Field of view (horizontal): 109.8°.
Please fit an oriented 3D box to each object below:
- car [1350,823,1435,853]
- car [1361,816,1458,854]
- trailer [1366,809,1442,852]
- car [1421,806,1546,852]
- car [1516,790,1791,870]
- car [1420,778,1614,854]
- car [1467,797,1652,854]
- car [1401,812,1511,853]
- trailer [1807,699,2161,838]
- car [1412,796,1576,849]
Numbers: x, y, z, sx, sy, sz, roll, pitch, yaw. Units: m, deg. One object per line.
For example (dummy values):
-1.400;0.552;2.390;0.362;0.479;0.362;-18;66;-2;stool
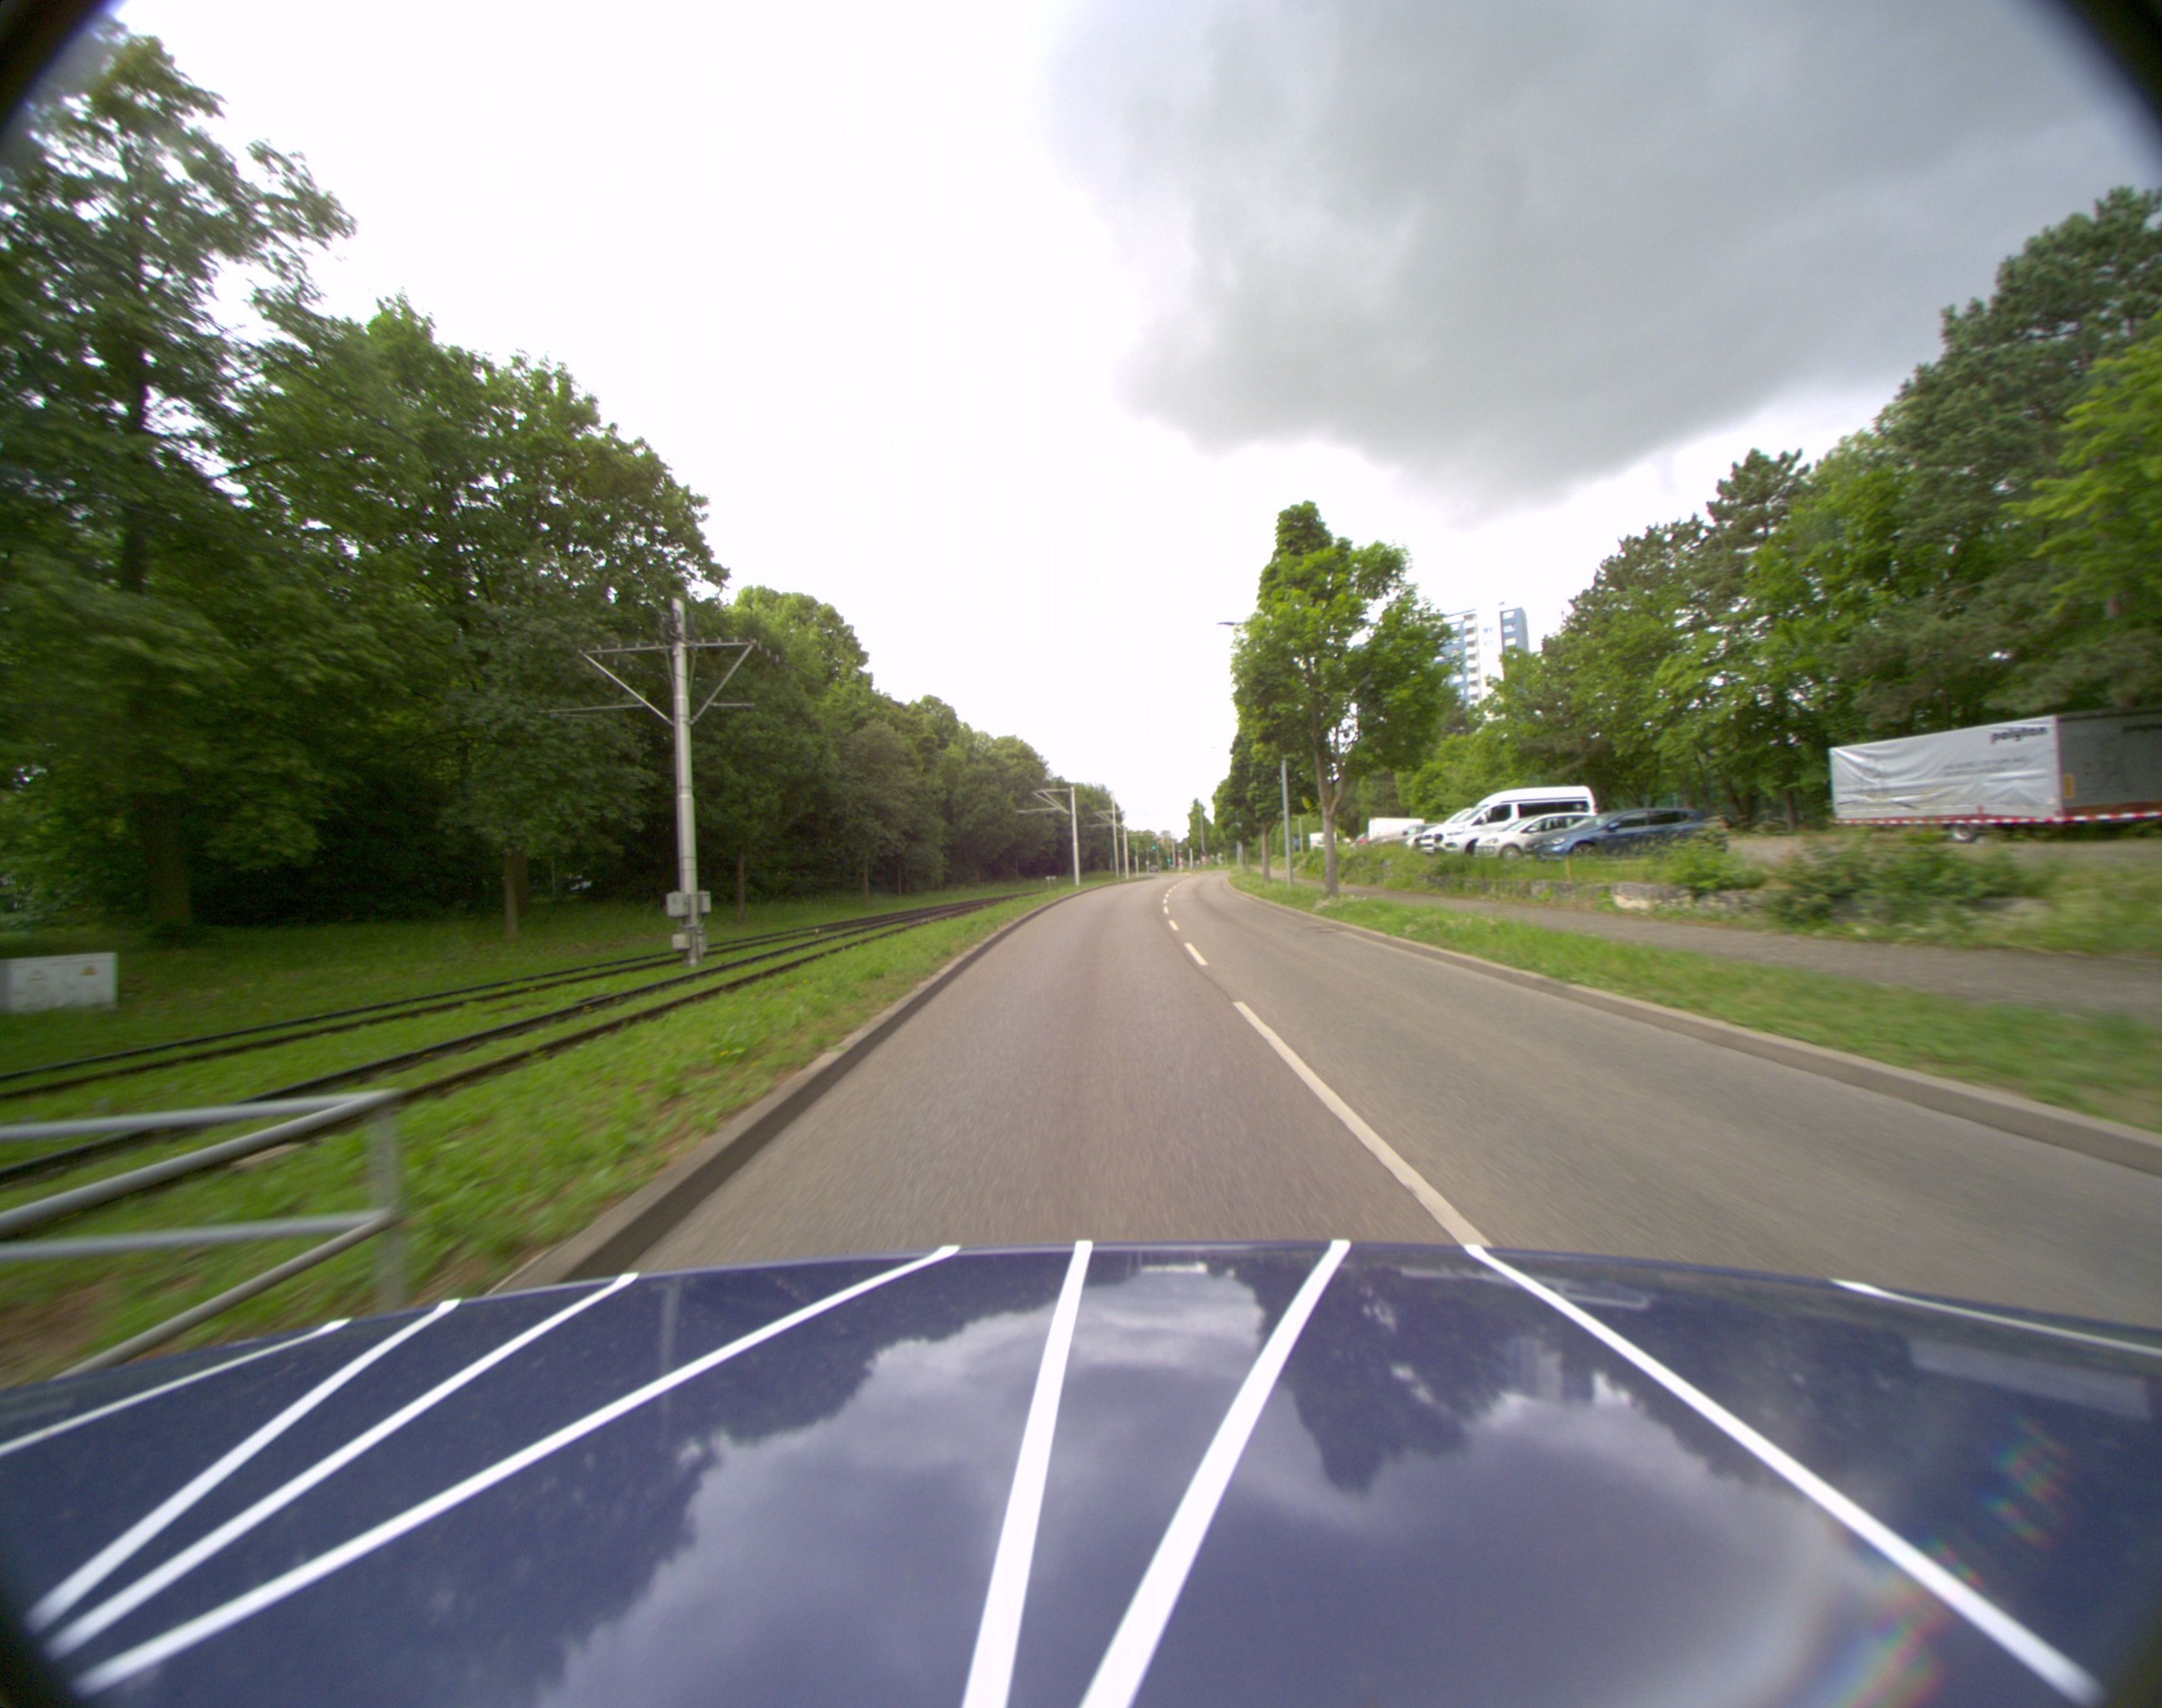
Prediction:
17.450;-0.865;42.771;4.041;1.408;2.002;-4;-1;12;car
16.286;-0.928;37.891;4.041;1.574;2.002;-4;-1;12;car
17.108;-1.197;40.352;3.371;2.046;1.680;-3;0;12;trailer
16.400;-0.988;31.169;4.041;1.538;2.002;-4;-1;12;car
14.100;-0.538;19.030;5.166;1.552;1.887;-4;-1;8;car
14.630;-1.219;25.828;5.166;2.094;2.216;-4;-1;8;car
14.176;-0.813;22.713;4.386;1.308;1.564;-4;-1;8;car
16.800;-0.946;34.221;4.041;1.502;1.782;-4;-1;12;car
24.718;-2.063;21.242;2.653;3.056;7.198;-4;1;9;trailer
15.462;-1.143;28.739;5.002;1.538;2.099;-4;-1;12;car
